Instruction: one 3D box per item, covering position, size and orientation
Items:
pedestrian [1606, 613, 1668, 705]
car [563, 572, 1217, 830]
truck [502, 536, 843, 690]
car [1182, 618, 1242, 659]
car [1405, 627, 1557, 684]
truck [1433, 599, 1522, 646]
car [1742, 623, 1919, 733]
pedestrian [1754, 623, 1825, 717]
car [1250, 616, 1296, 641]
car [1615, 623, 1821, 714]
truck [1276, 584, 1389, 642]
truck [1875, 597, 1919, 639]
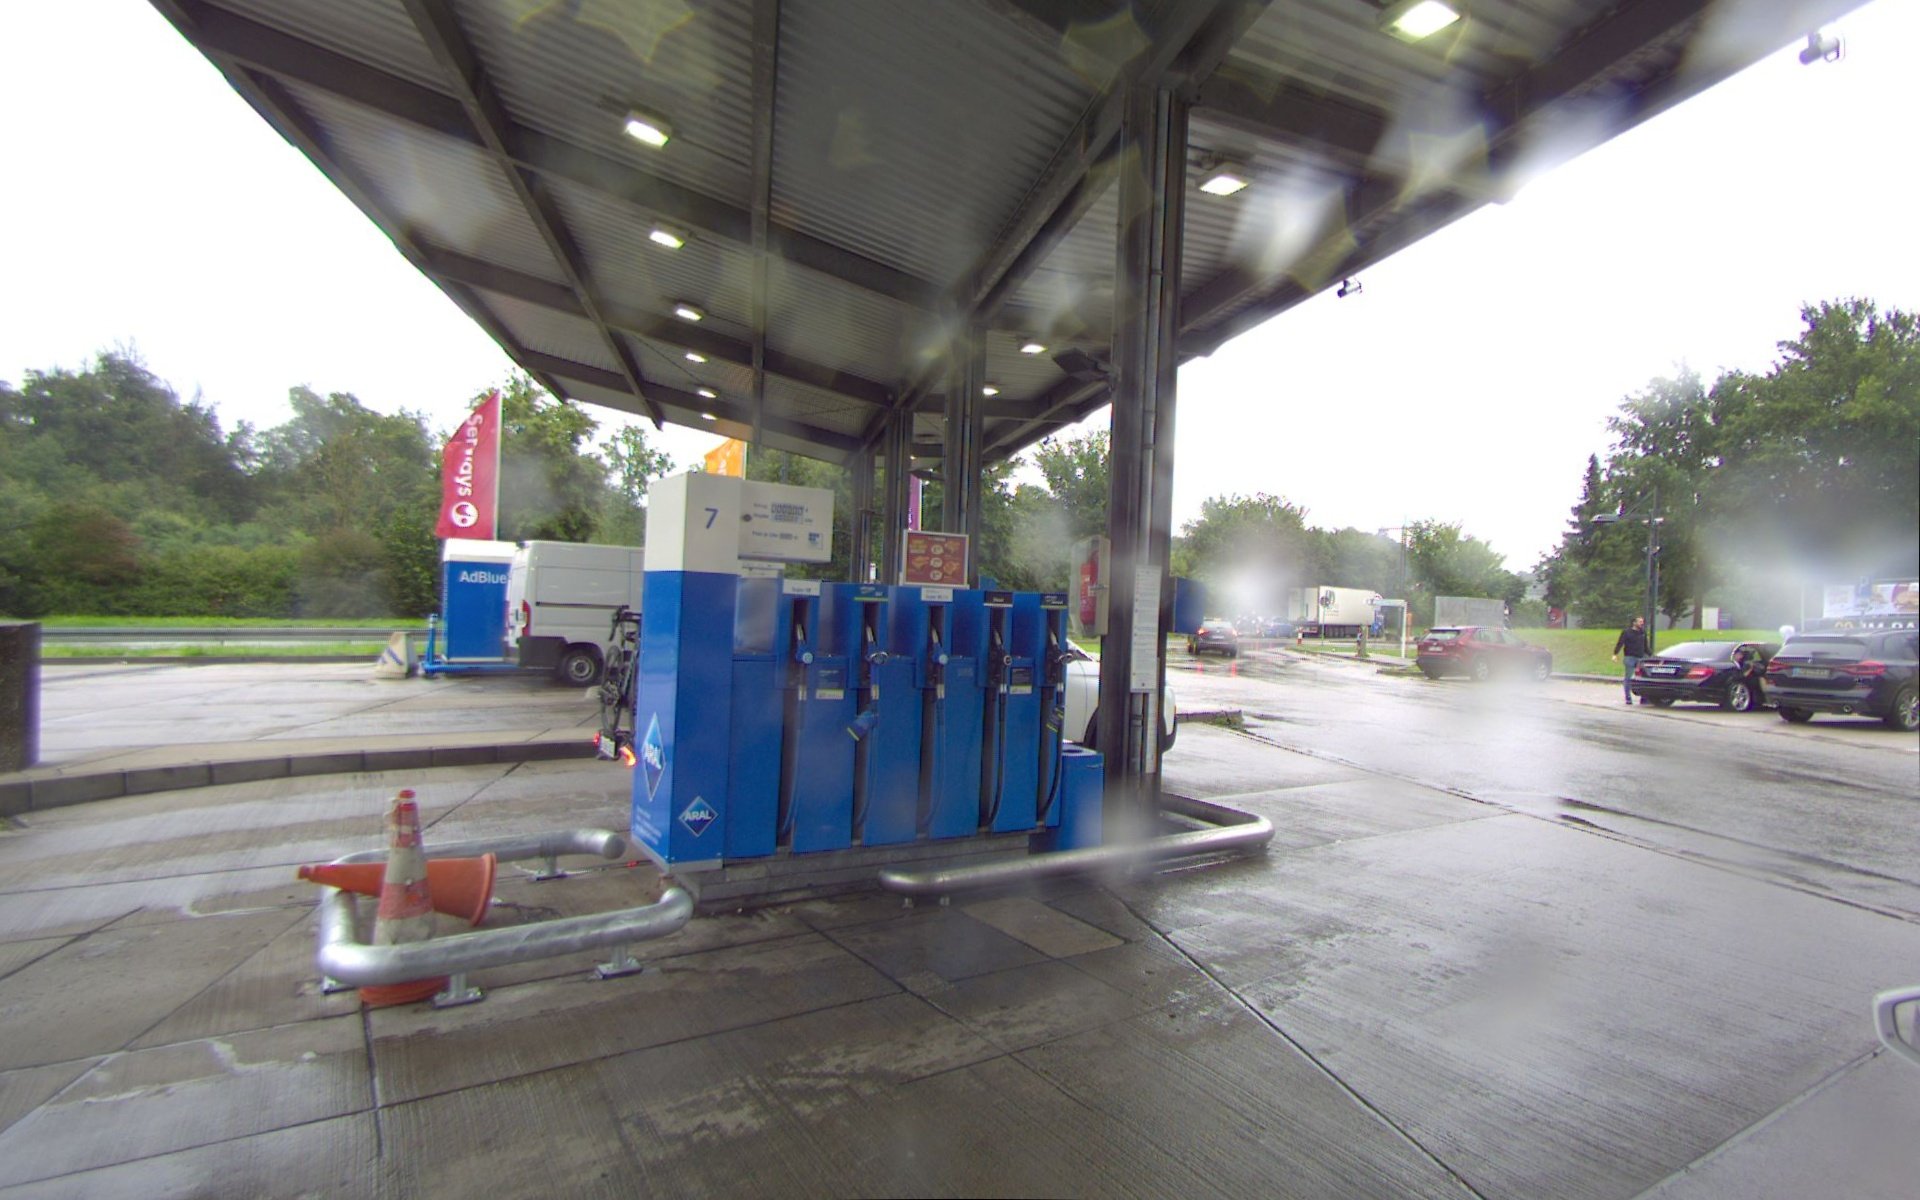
[{"bbox_3d":[14.532,1.240,21.581,0.690,1.912,0.894,2,0,3],"label":"pedestrian"},{"bbox_3d":[-0.422,0.700,8.456,5.210,1.629,1.852,2,0,-30],"label":"car"},{"bbox_3d":[-5.334,0.290,18.937,5.793,2.527,2.221,2,0,-30],"label":"truck"},{"bbox_3d":[11.152,1.685,44.698,1.960,1.700,4.002,2,-1,5],"label":"car"},{"bbox_3d":[16.080,1.668,30.999,4.283,1.666,1.933,1,-2,-25],"label":"car"},{"bbox_3d":[36.084,1.593,69.945,7.284,3.126,2.460,2,0,-36],"label":"truck"},{"bbox_3d":[16.176,1.271,17.465,4.274,1.734,2.016,1,-1,-18],"label":"car"},{"bbox_3d":[15.335,1.277,18.595,0.938,1.653,0.701,2,0,36],"label":"pedestrian"},{"bbox_3d":[22.906,2.055,73.434,1.787,1.704,3.934,2,0,40],"label":"car"},{"bbox_3d":[15.945,1.356,21.088,4.293,1.734,2.007,1,-2,-31],"label":"car"},{"bbox_3d":[31.882,1.178,85.149,3.498,4.397,16.922,2,0,40],"label":"truck"},{"bbox_3d":[68.857,1.320,71.698,5.285,2.959,2.191,2,0,-5],"label":"truck"}]
